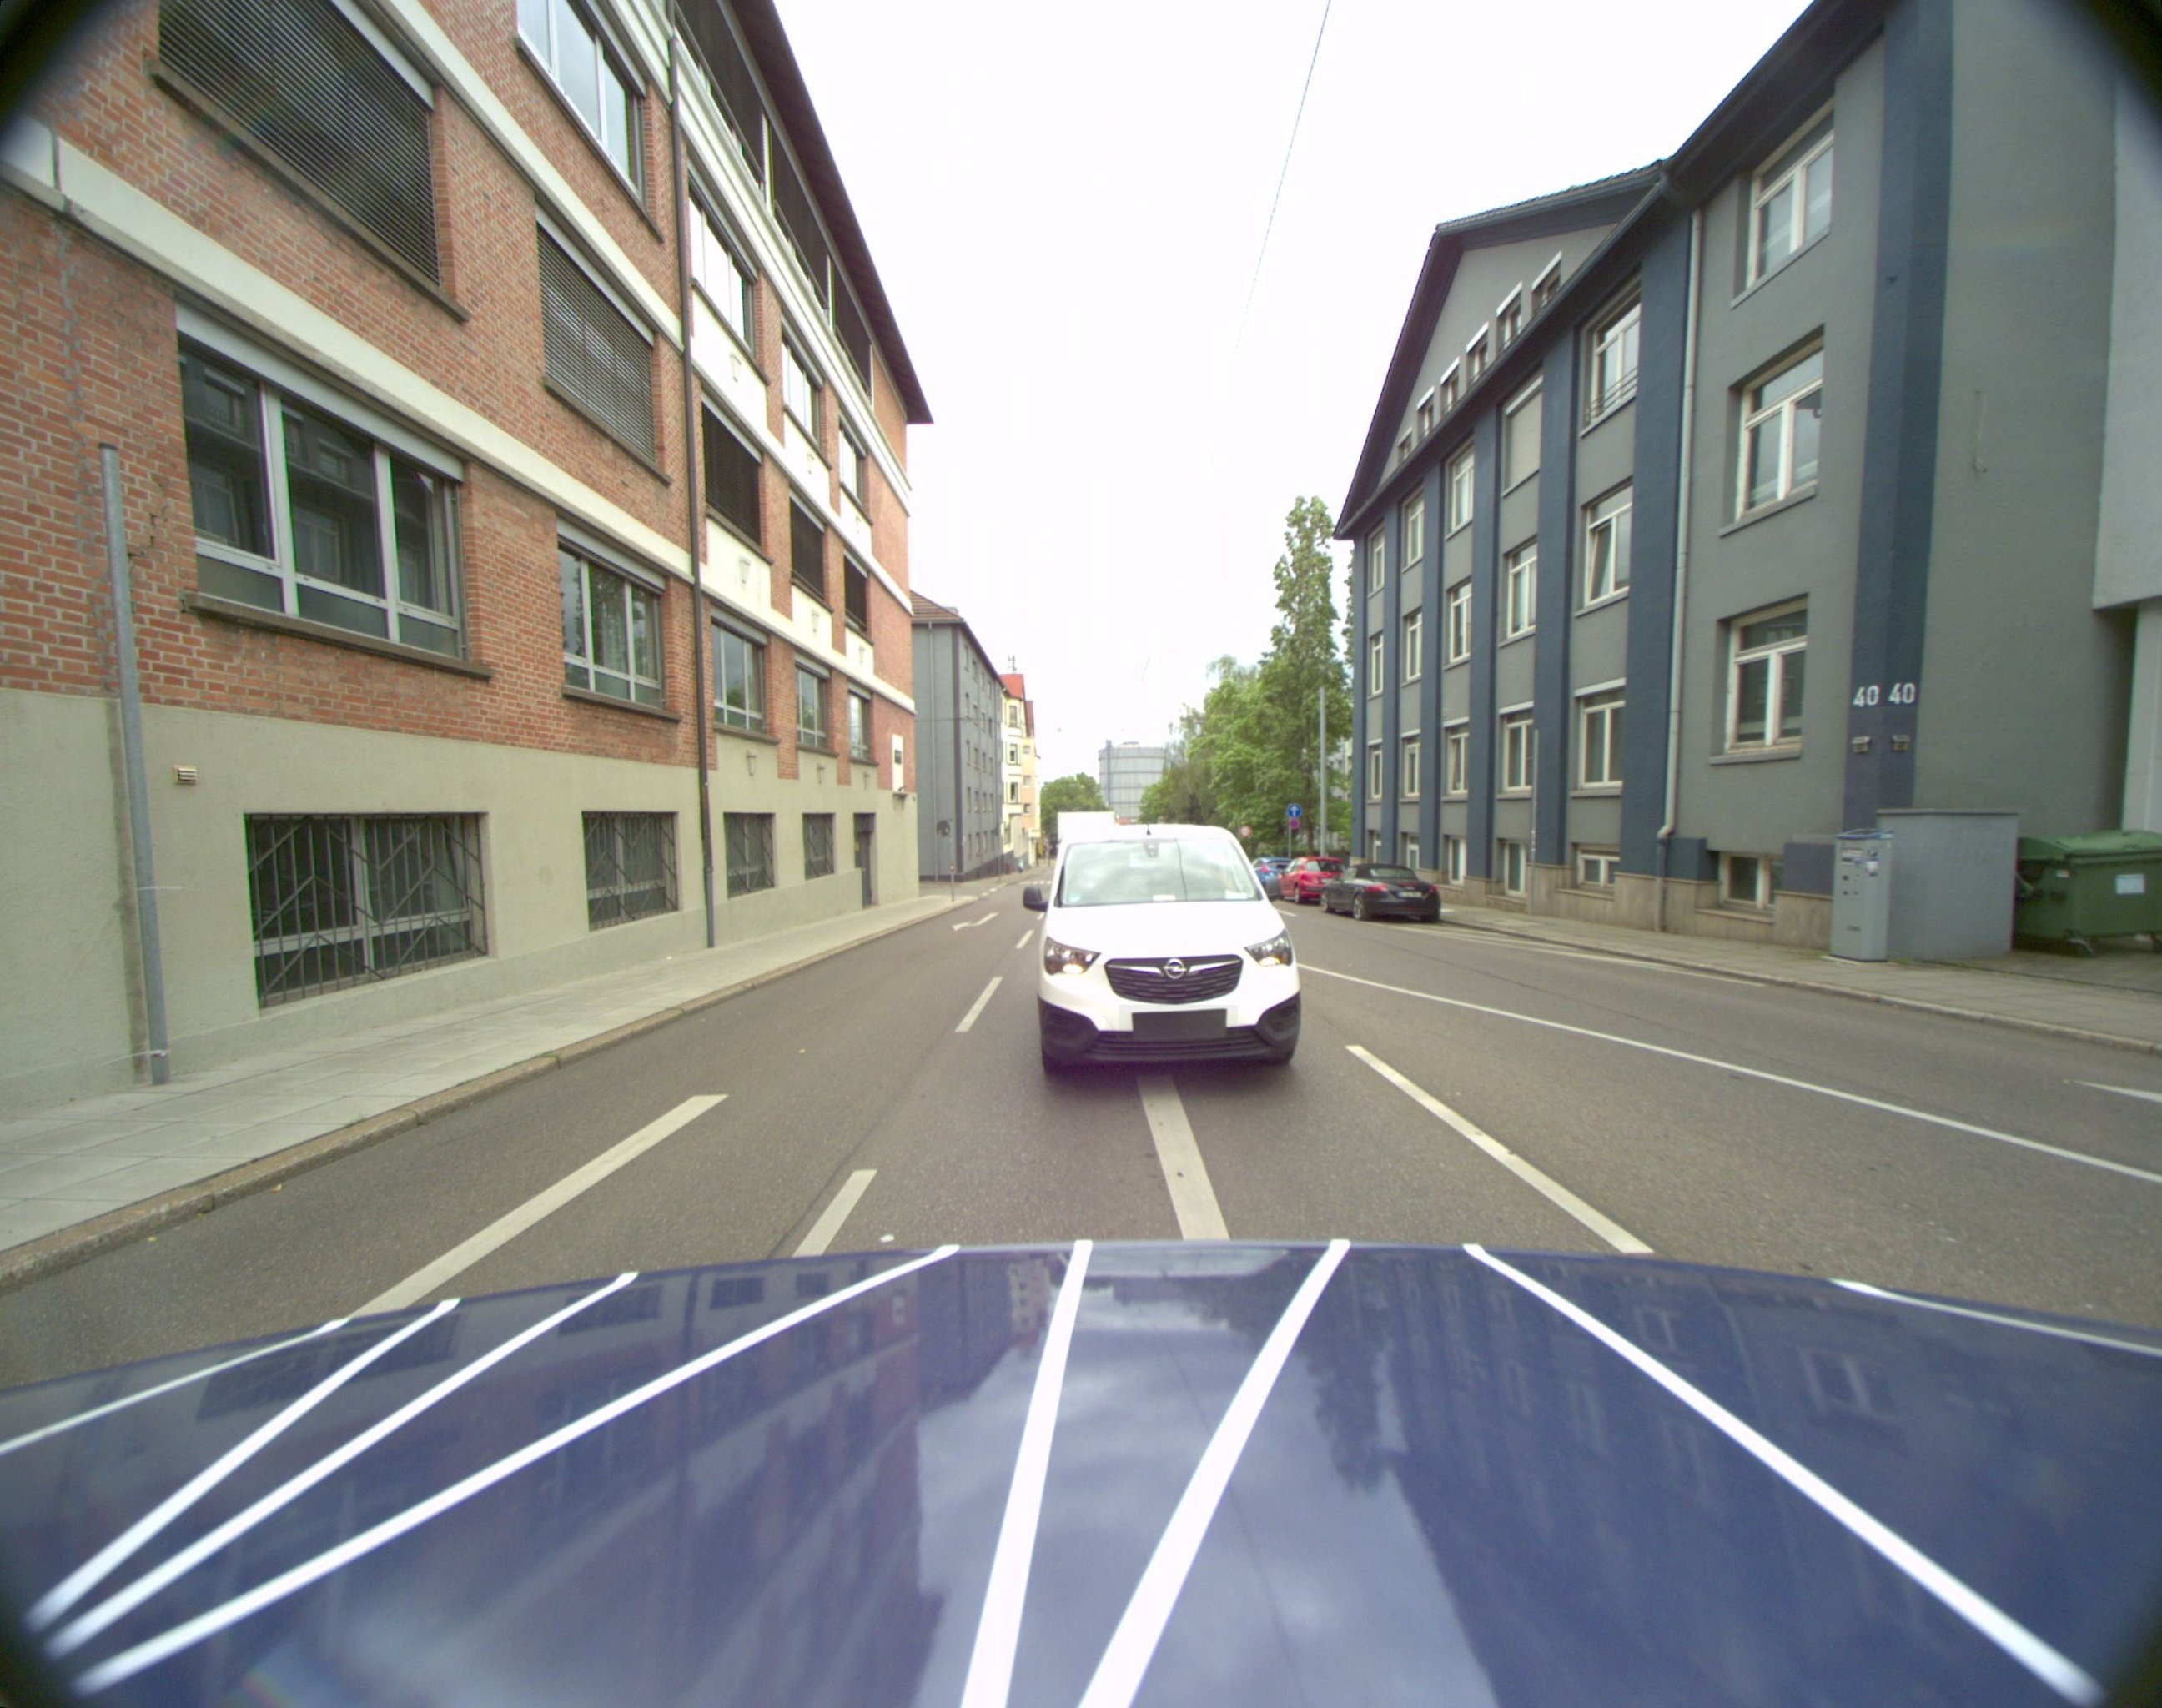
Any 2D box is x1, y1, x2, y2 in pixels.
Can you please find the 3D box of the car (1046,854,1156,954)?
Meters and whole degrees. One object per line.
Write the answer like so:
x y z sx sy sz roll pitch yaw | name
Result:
0.347 0.820 14.400 1.739 1.519 3.999 -2 1 1 | car

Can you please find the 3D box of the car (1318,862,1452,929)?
7.232 0.930 18.476 1.801 1.384 3.729 0 1 1 | car

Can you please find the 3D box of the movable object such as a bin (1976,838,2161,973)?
12.067 0.578 9.191 1.229 1.498 1.040 -2 1 1 | movable object such as a bin

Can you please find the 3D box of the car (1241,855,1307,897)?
7.499 0.819 29.863 1.644 1.441 3.729 -2 1 1 | car

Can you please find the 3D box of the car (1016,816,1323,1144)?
0.547 0.722 6.470 1.739 1.875 3.999 -2 1 1 | car

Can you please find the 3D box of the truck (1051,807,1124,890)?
0.344 -0.298 36.665 2.969 3.409 8.879 -2 1 1 | truck

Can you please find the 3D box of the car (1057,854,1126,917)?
0.308 0.831 21.892 1.739 1.519 3.999 -2 1 1 | car

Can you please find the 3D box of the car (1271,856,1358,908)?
7.384 0.833 24.351 1.644 1.441 3.729 -2 1 1 | car
